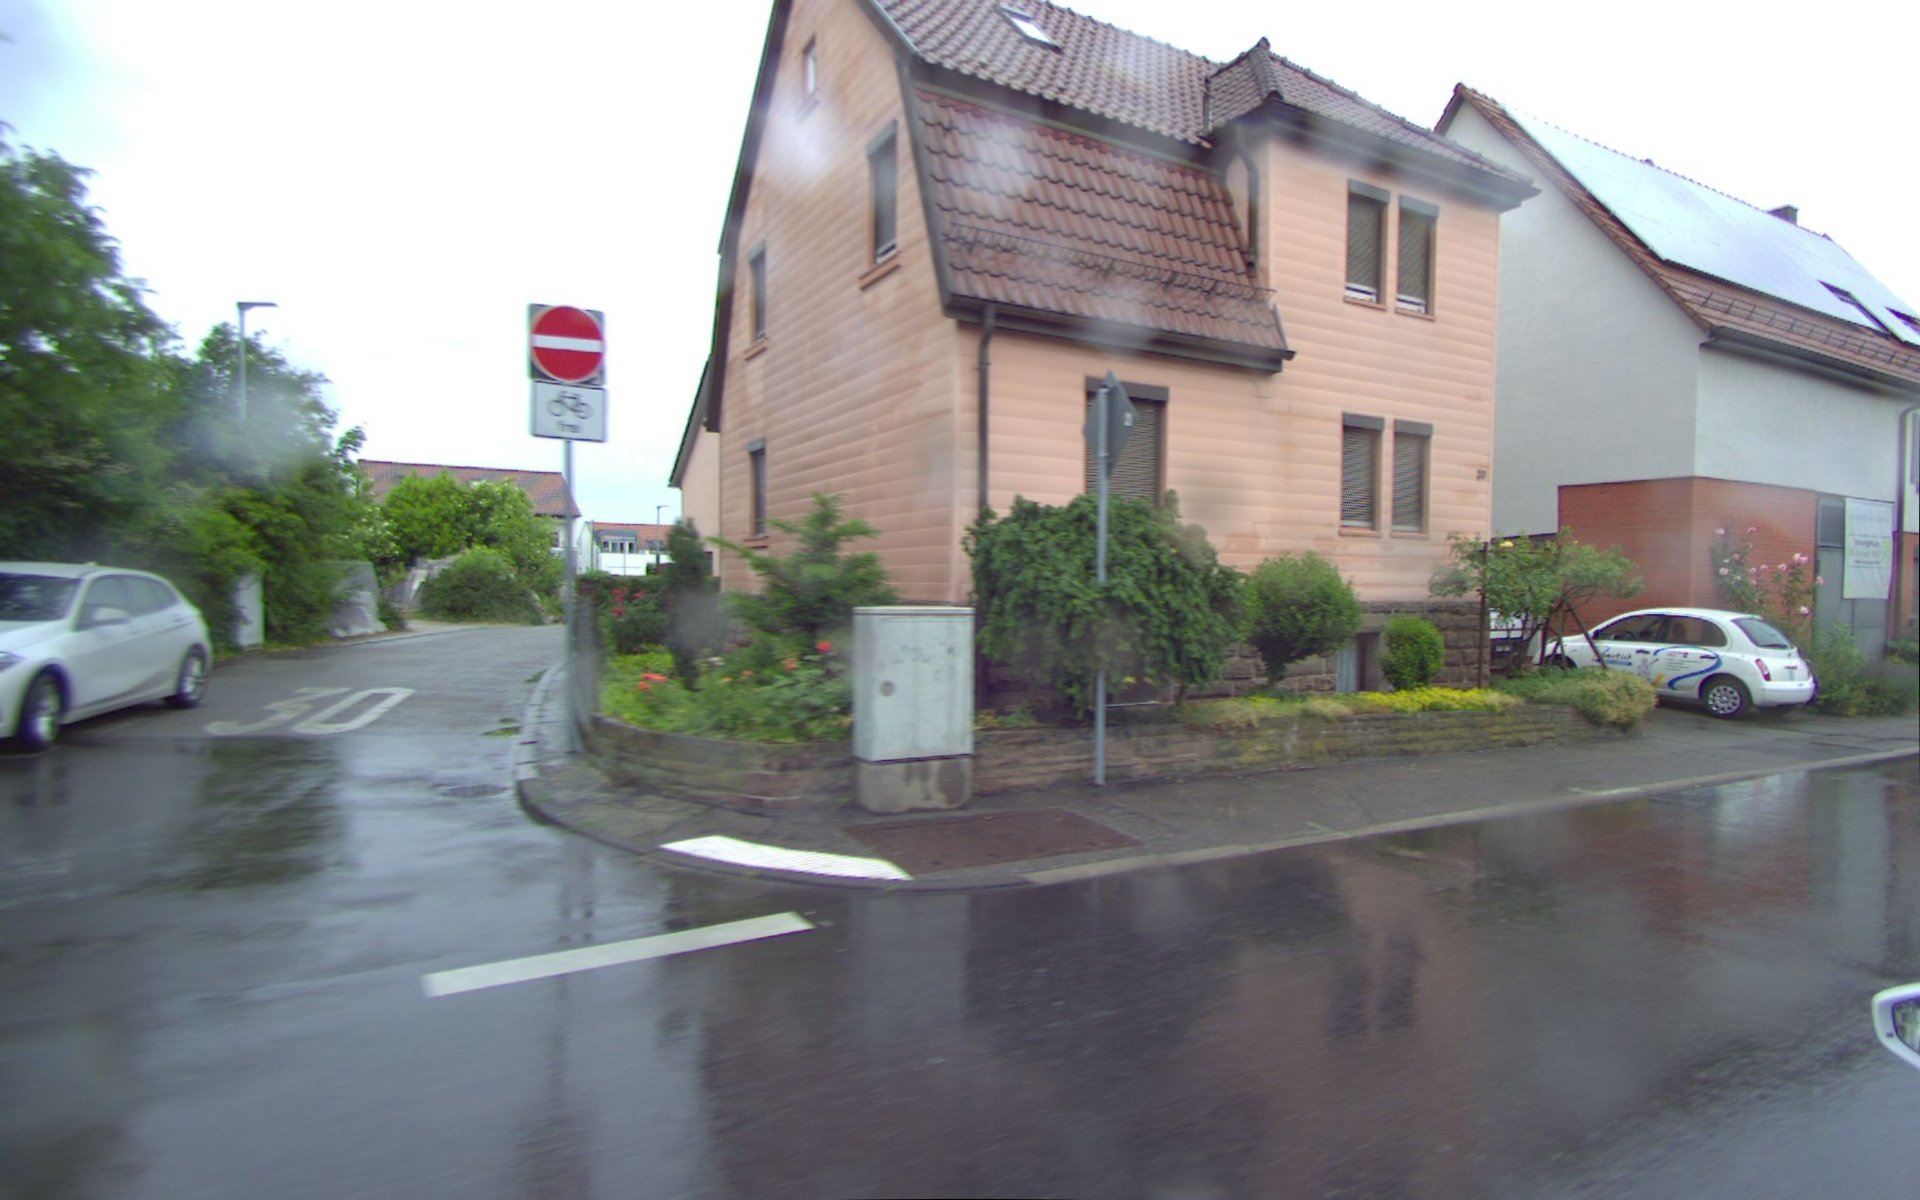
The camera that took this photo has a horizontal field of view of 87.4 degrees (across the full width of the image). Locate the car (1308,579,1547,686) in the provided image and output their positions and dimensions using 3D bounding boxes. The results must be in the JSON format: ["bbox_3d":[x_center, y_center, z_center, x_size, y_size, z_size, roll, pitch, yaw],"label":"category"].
[{"bbox_3d":[9.135,0.557,19.956,1.738,1.787,3.966,1,2,-31],"label":"car"}]

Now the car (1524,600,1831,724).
[{"bbox_3d":[11.132,0.878,15.838,1.643,1.550,3.529,1,2,-29],"label":"car"}]

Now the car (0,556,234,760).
[{"bbox_3d":[-8.210,0.345,8.811,1.689,1.438,4.224,1,1,-17],"label":"car"}]
